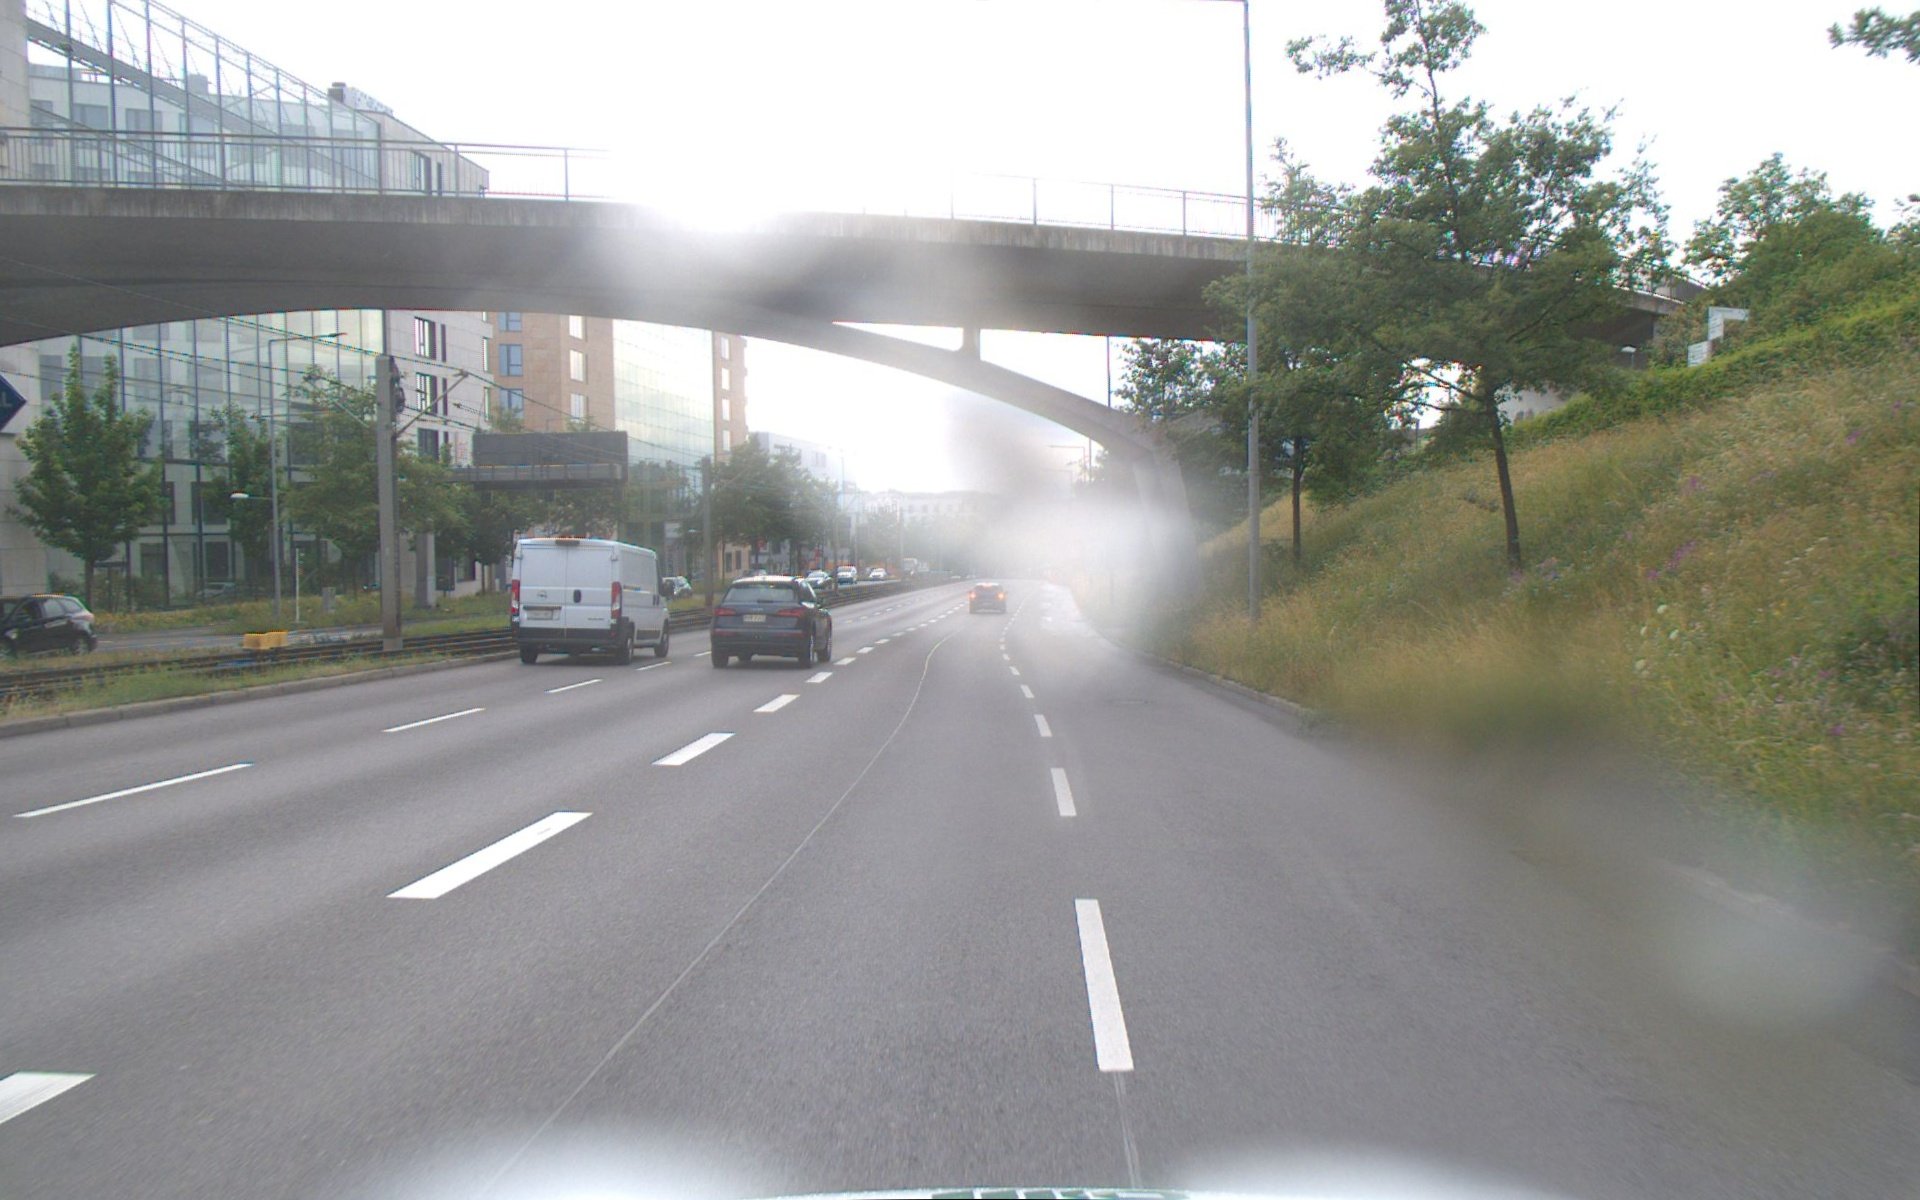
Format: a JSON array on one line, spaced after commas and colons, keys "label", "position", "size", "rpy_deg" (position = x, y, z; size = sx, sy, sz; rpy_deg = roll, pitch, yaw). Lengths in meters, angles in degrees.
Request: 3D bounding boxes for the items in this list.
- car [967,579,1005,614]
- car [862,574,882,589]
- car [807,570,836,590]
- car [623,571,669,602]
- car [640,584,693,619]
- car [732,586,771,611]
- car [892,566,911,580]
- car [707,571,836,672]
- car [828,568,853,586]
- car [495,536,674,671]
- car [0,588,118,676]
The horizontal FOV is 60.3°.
[{"label": "car", "position": [1.262, -0.150, 80.779], "size": [1.752, 1.619, 4.000], "rpy_deg": [1, 0, 1]}, {"label": "car", "position": [-10.870, -2.259, 204.922], "size": [1.897, 1.792, 4.813], "rpy_deg": [1, 1, 4]}, {"label": "car", "position": [-11.802, -1.727, 141.109], "size": [1.772, 1.560, 4.872], "rpy_deg": [1, 1, 4]}, {"label": "car", "position": [-18.871, -0.823, 99.498], "size": [1.881, 1.807, 4.135], "rpy_deg": [1, 1, 1]}, {"label": "car", "position": [-16.250, 0.074, 91.769], "size": [1.880, 1.807, 4.227], "rpy_deg": [1, 1, 4]}, {"label": "car", "position": [-14.458, -0.138, 114.879], "size": [1.727, 1.625, 4.795], "rpy_deg": [1, 1, 4]}, {"label": "car", "position": [-7.492, -3.489, 212.025], "size": [1.897, 1.792, 4.813], "rpy_deg": [1, 1, 4]}, {"label": "car", "position": [-3.470, 0.340, 31.106], "size": [1.883, 1.740, 4.099], "rpy_deg": [1, 1, 1]}, {"label": "car", "position": [-12.734, -2.450, 176.808], "size": [1.897, 1.792, 5.065], "rpy_deg": [1, 1, 4]}, {"label": "car", "position": [-7.025, 0.007, 31.513], "size": [2.221, 2.324, 4.761], "rpy_deg": [1, 1, 1]}, {"label": "car", "position": [-19.113, 0.593, 33.109], "size": [2.005, 1.565, 4.761], "rpy_deg": [1, 1, 1]}]
